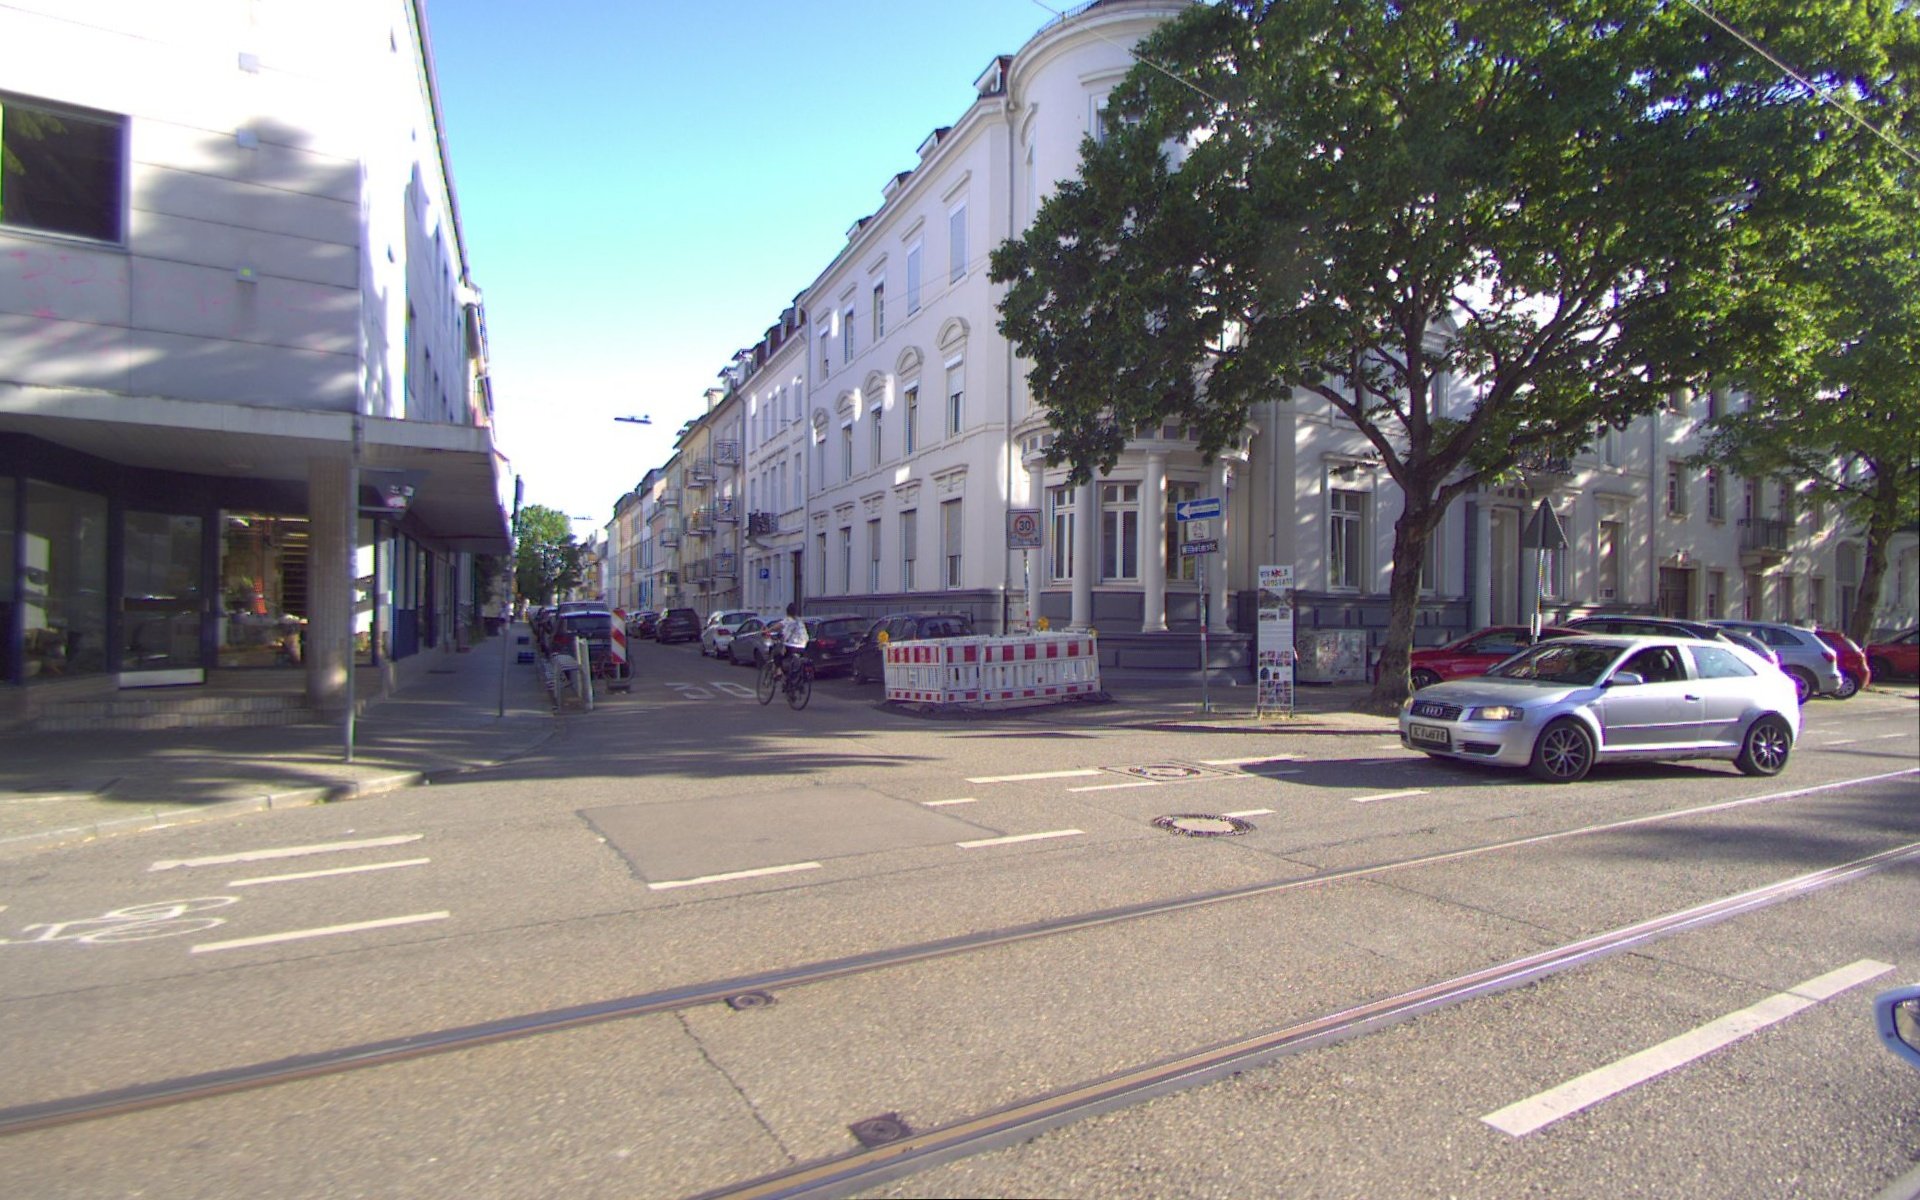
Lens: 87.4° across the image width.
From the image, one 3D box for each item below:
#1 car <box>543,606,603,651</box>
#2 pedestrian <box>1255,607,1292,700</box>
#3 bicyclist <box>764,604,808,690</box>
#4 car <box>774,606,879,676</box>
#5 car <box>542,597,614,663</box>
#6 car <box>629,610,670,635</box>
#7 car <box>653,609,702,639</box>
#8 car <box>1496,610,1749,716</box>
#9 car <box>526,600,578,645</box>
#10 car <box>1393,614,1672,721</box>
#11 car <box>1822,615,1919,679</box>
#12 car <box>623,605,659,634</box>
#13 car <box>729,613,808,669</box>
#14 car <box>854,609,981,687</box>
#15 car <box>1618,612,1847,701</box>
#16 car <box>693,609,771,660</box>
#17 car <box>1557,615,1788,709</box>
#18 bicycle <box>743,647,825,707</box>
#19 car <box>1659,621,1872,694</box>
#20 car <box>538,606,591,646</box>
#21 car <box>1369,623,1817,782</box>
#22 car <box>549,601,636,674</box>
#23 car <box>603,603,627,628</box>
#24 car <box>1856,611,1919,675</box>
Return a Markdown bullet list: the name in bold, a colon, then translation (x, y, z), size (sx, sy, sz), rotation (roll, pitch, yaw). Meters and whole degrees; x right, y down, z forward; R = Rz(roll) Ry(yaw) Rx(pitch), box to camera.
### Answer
- **car**: translation (-13.151, 0.940, 33.999), size (1.727, 1.439, 3.978), rotation (1, -1, -23)
- **pedestrian**: translation (5.406, 0.917, 17.340), size (0.502, 1.593, 0.346), rotation (1, -1, -9)
- **bicyclist**: translation (-2.891, 0.767, 16.669), size (0.455, 1.396, 0.633), rotation (1, -1, -41)
- **car**: translation (-3.315, 0.964, 24.490), size (1.455, 1.569, 3.747), rotation (1, -1, -25)
- **car**: translation (-11.193, 0.847, 29.317), size (1.586, 1.795, 3.974), rotation (1, -1, -26)
- **car**: translation (-17.929, 1.291, 57.940), size (1.714, 1.372, 3.975), rotation (1, -1, -25)
- **car**: translation (-13.669, 1.120, 48.507), size (1.714, 1.372, 3.977), rotation (1, -1, -24)
- **car**: translation (11.841, 1.082, 18.236), size (3.616, 1.744, 1.610), rotation (0, -1, 25)
- **car**: translation (-17.052, 0.935, 41.849), size (1.715, 1.773, 3.973), rotation (1, -1, -26)
- **car**: translation (9.426, 1.051, 16.859), size (3.841, 1.472, 1.636), rotation (2, 0, 26)
- **car**: translation (27.105, 1.327, 28.257), size (4.102, 1.743, 1.580), rotation (1, -1, 33)
- **car**: translation (-20.116, 1.205, 63.258), size (1.714, 1.734, 3.975), rotation (1, -1, -25)
- **car**: translation (-5.651, 1.154, 29.329), size (1.505, 1.517, 3.300), rotation (1, -1, -25)
- **car**: translation (-0.942, 0.932, 20.584), size (1.455, 1.462, 3.229), rotation (1, -1, -25)
- **car**: translation (16.405, 1.155, 21.555), size (3.616, 1.744, 1.610), rotation (0, -1, 25)
- **car**: translation (-7.955, 1.151, 34.757), size (1.778, 1.638, 3.974), rotation (1, -1, -26)
- **car**: translation (13.990, 1.169, 19.963), size (3.500, 1.684, 1.736), rotation (0, -1, 27)
- **bicycle**: translation (-2.948, 1.256, 16.690), size (0.447, 0.893, 1.879), rotation (1, -1, -40)
- **car**: translation (18.634, 1.290, 23.424), size (3.616, 1.548, 1.482), rotation (0, -1, 25)
- **car**: translation (-14.997, 0.966, 37.996), size (1.727, 1.439, 3.978), rotation (1, -1, -23)
- **car**: translation (6.653, 0.995, 10.651), size (4.101, 1.455, 1.710), rotation (1, -1, -15)
- **car**: translation (-8.925, 0.855, 24.223), size (1.693, 1.605, 3.976), rotation (1, -1, -24)
- **car**: translation (-27.885, 1.221, 81.211), size (1.546, 1.973, 3.978), rotation (1, -1, -23)
- **car**: translation (29.572, 1.338, 30.050), size (3.772, 1.856, 1.729), rotation (2, 0, 30)
